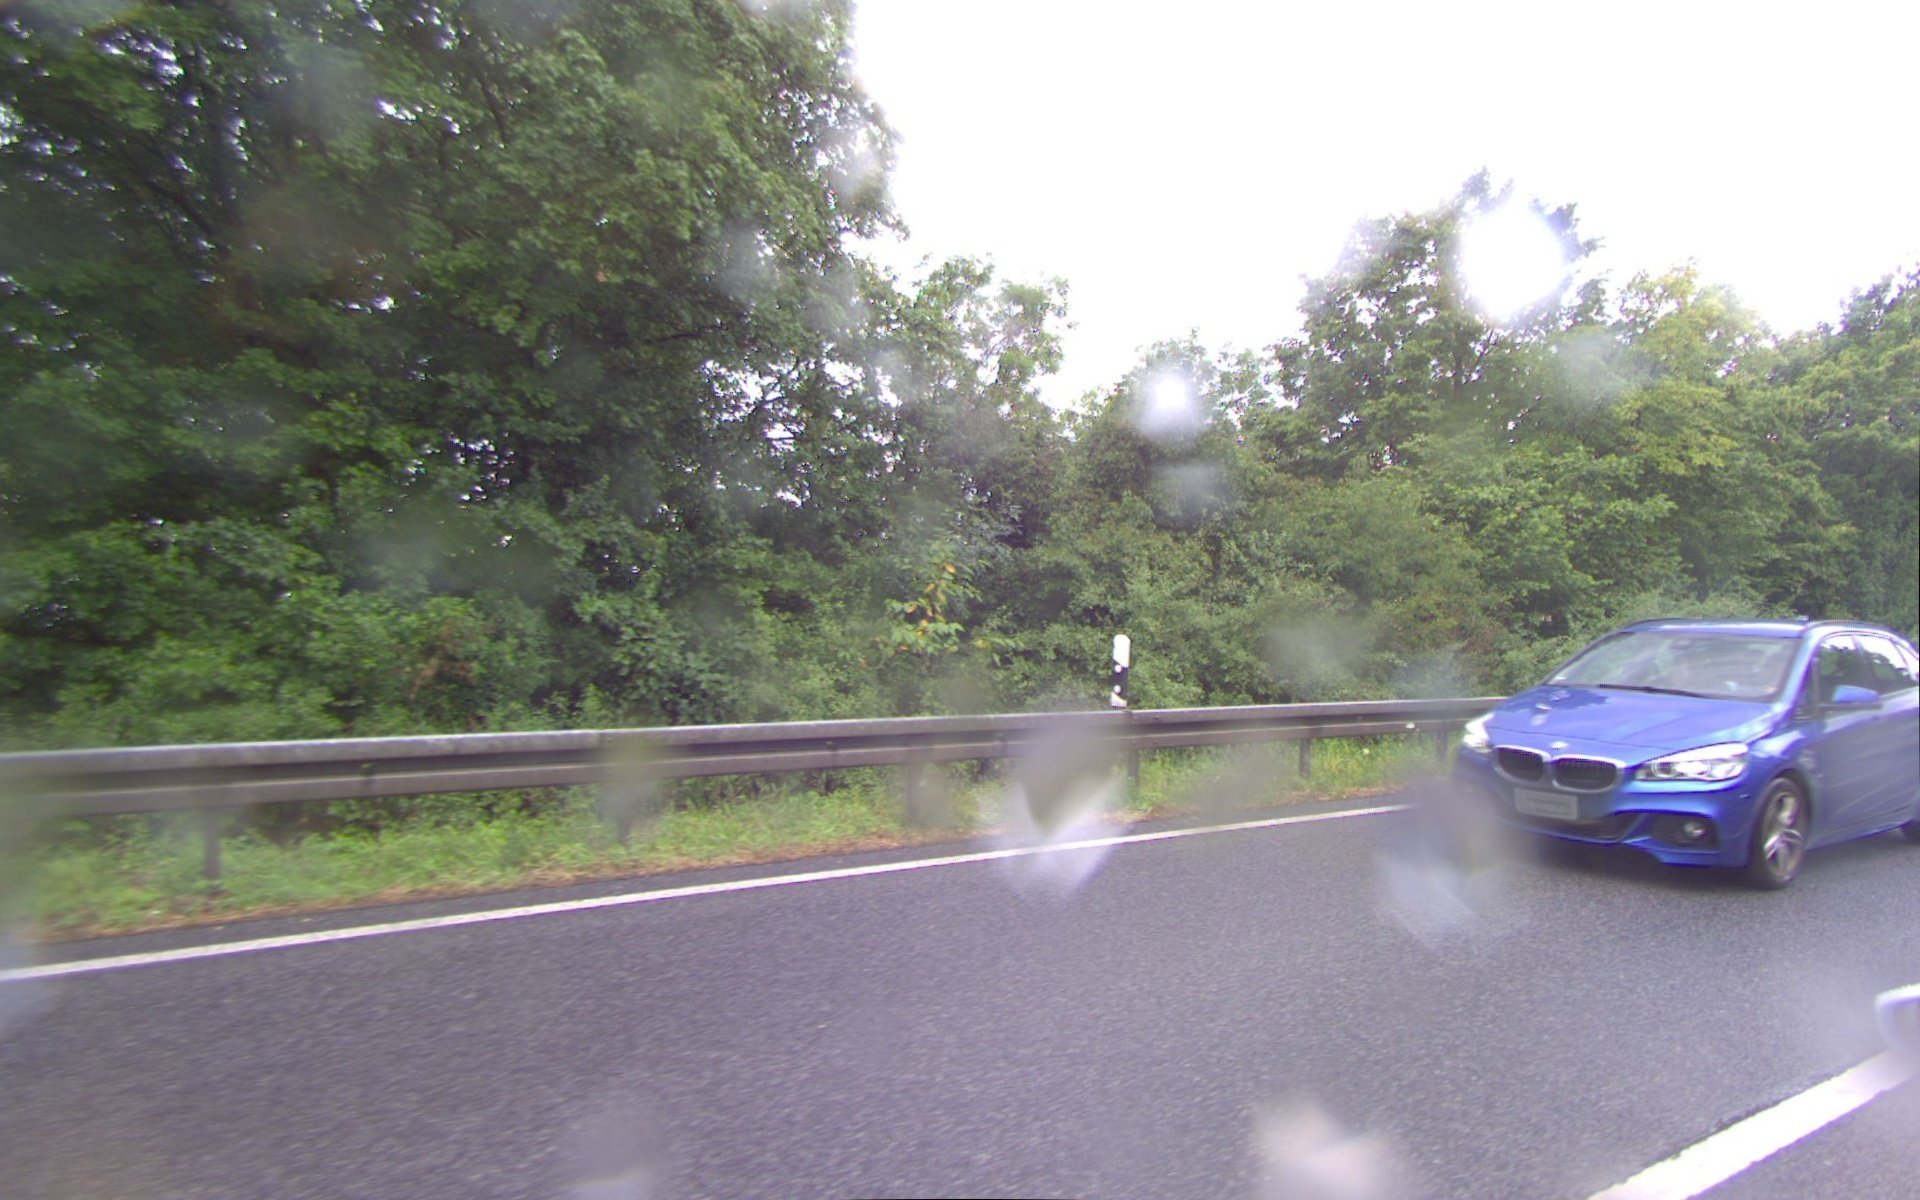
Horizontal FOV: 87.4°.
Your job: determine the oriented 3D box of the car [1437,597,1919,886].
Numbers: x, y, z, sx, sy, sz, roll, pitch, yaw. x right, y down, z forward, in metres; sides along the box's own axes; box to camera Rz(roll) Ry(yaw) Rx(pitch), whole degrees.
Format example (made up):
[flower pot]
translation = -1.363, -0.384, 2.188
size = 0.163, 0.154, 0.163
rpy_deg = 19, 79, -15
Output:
[car]
translation = 5.377, 0.825, 7.074
size = 3.865, 1.536, 1.700
rpy_deg = 2, 0, -29
